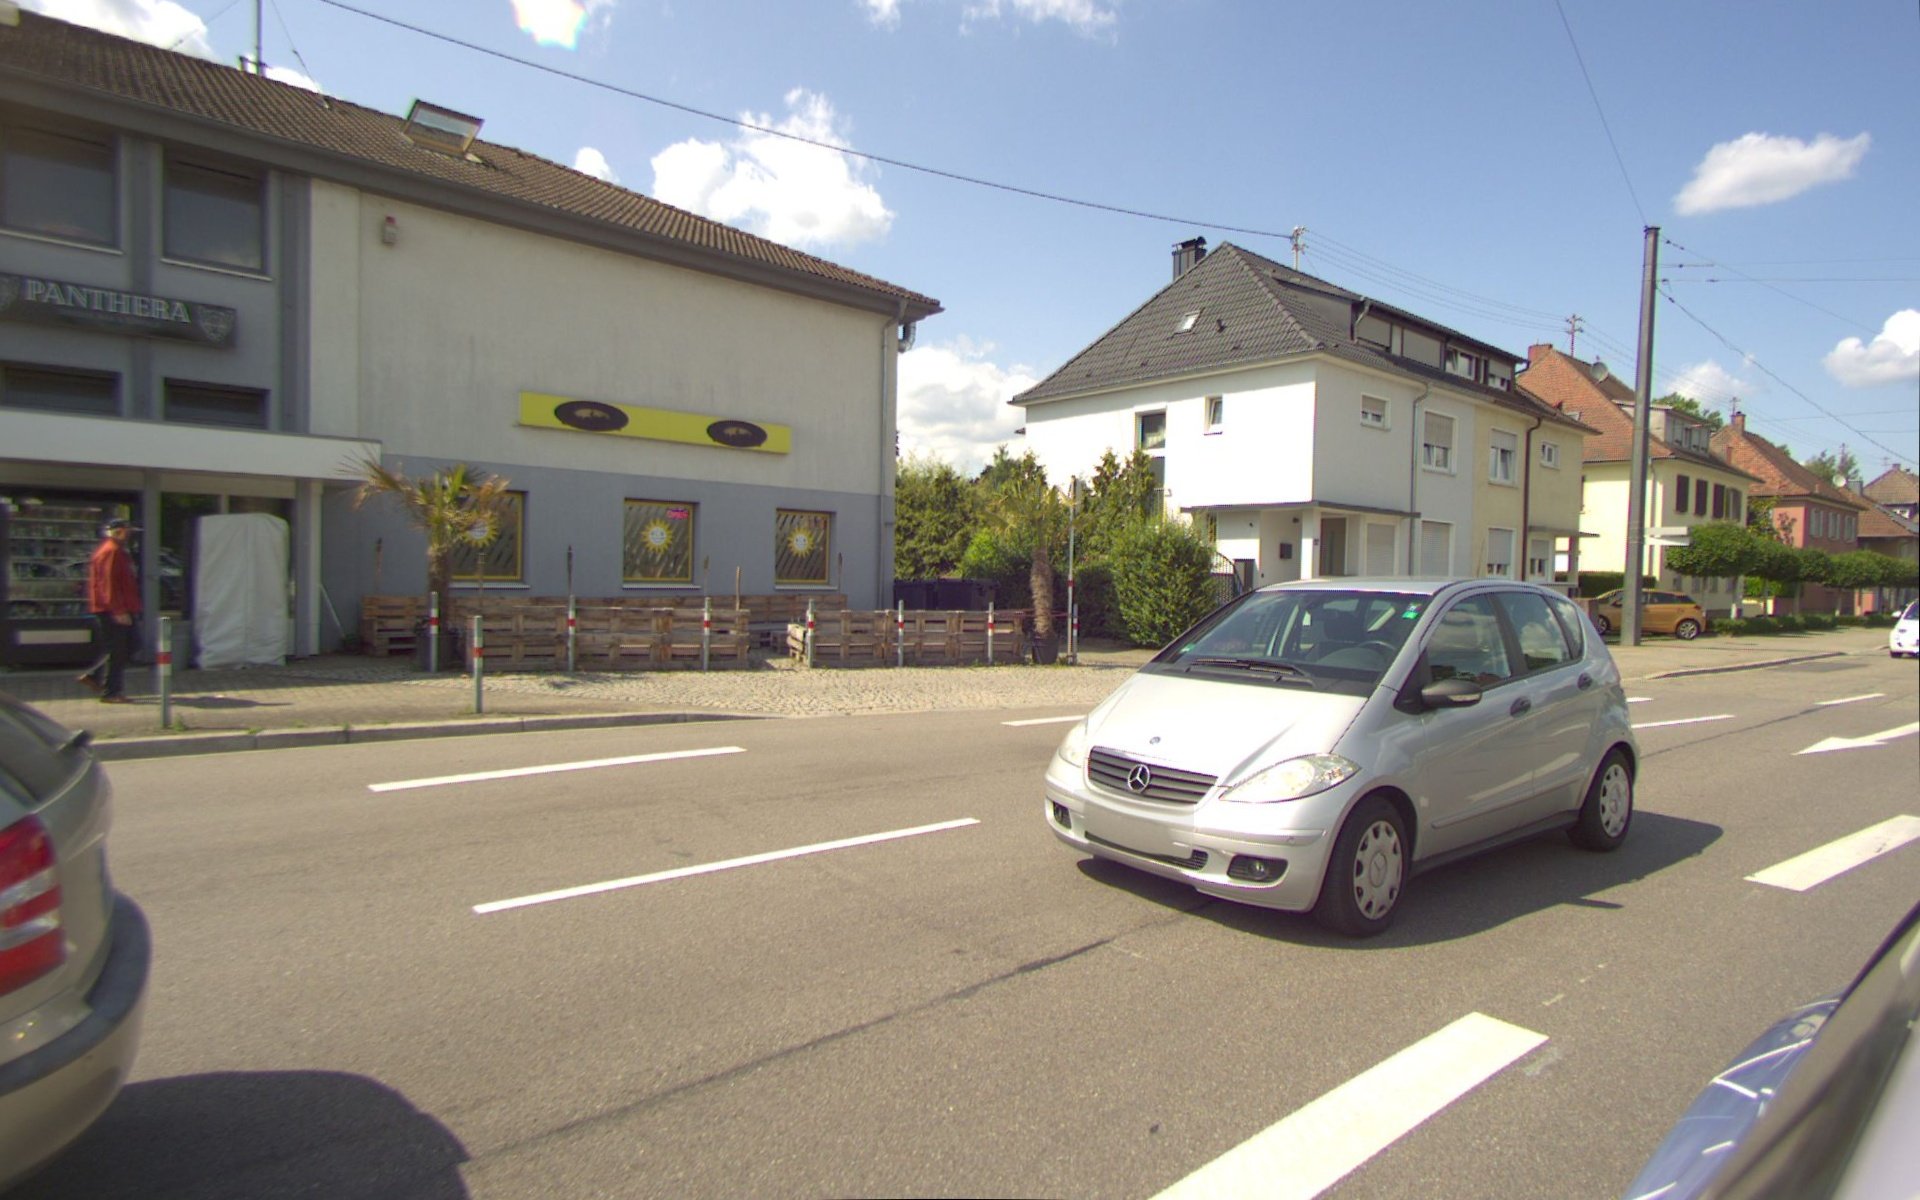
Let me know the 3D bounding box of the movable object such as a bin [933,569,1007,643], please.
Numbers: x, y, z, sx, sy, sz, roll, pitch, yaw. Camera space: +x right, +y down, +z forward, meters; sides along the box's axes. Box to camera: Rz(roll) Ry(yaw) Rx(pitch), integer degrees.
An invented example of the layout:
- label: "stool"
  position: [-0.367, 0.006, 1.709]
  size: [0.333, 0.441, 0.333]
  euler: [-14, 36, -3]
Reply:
- label: "movable object such as a bin"
  position: [0.189, 0.113, 19.391]
  size: [0.871, 1.349, 1.085]
  euler: [3, 0, -39]

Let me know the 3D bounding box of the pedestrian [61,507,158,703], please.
- label: "pedestrian"
  position: [-8.193, 0.023, 9.780]
  size: [0.690, 1.804, 0.724]
  euler: [0, 4, -38]

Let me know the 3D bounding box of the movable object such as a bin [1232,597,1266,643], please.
- label: "movable object such as a bin"
  position: [5.917, 0.394, 20.726]
  size: [0.445, 0.906, 0.537]
  euler: [2, 2, 45]

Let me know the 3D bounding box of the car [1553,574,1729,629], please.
- label: "car"
  position: [21.049, 0.035, 31.460]
  size: [4.027, 1.476, 1.911]
  euler: [3, 1, 10]

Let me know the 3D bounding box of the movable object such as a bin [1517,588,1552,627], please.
- label: "movable object such as a bin"
  position: [15.837, 0.198, 27.914]
  size: [0.673, 1.061, 0.639]
  euler: [0, 1, -41]

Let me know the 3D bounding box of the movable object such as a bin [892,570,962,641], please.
- label: "movable object such as a bin"
  position: [-0.677, 0.104, 20.476]
  size: [0.869, 1.349, 1.210]
  euler: [3, 0, -32]

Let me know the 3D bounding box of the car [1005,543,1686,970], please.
- label: "car"
  position: [2.361, 0.555, 5.737]
  size: [4.019, 1.596, 1.792]
  euler: [0, 1, -38]

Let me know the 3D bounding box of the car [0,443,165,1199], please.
- label: "car"
  position: [-3.697, 0.494, 0.970]
  size: [4.549, 1.511, 1.742]
  euler: [0, 1, -41]

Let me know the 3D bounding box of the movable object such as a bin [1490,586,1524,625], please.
- label: "movable object such as a bin"
  position: [15.356, 0.159, 28.429]
  size: [0.648, 1.069, 0.646]
  euler: [0, 1, -41]

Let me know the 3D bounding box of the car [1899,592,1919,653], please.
- label: "car"
  position: [26.286, 0.562, 26.538]
  size: [3.926, 1.569, 1.778]
  euler: [0, 0, -37]

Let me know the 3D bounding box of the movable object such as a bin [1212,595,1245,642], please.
- label: "movable object such as a bin"
  position: [5.594, 0.371, 21.113]
  size: [0.441, 0.946, 0.541]
  euler: [2, 1, 45]
